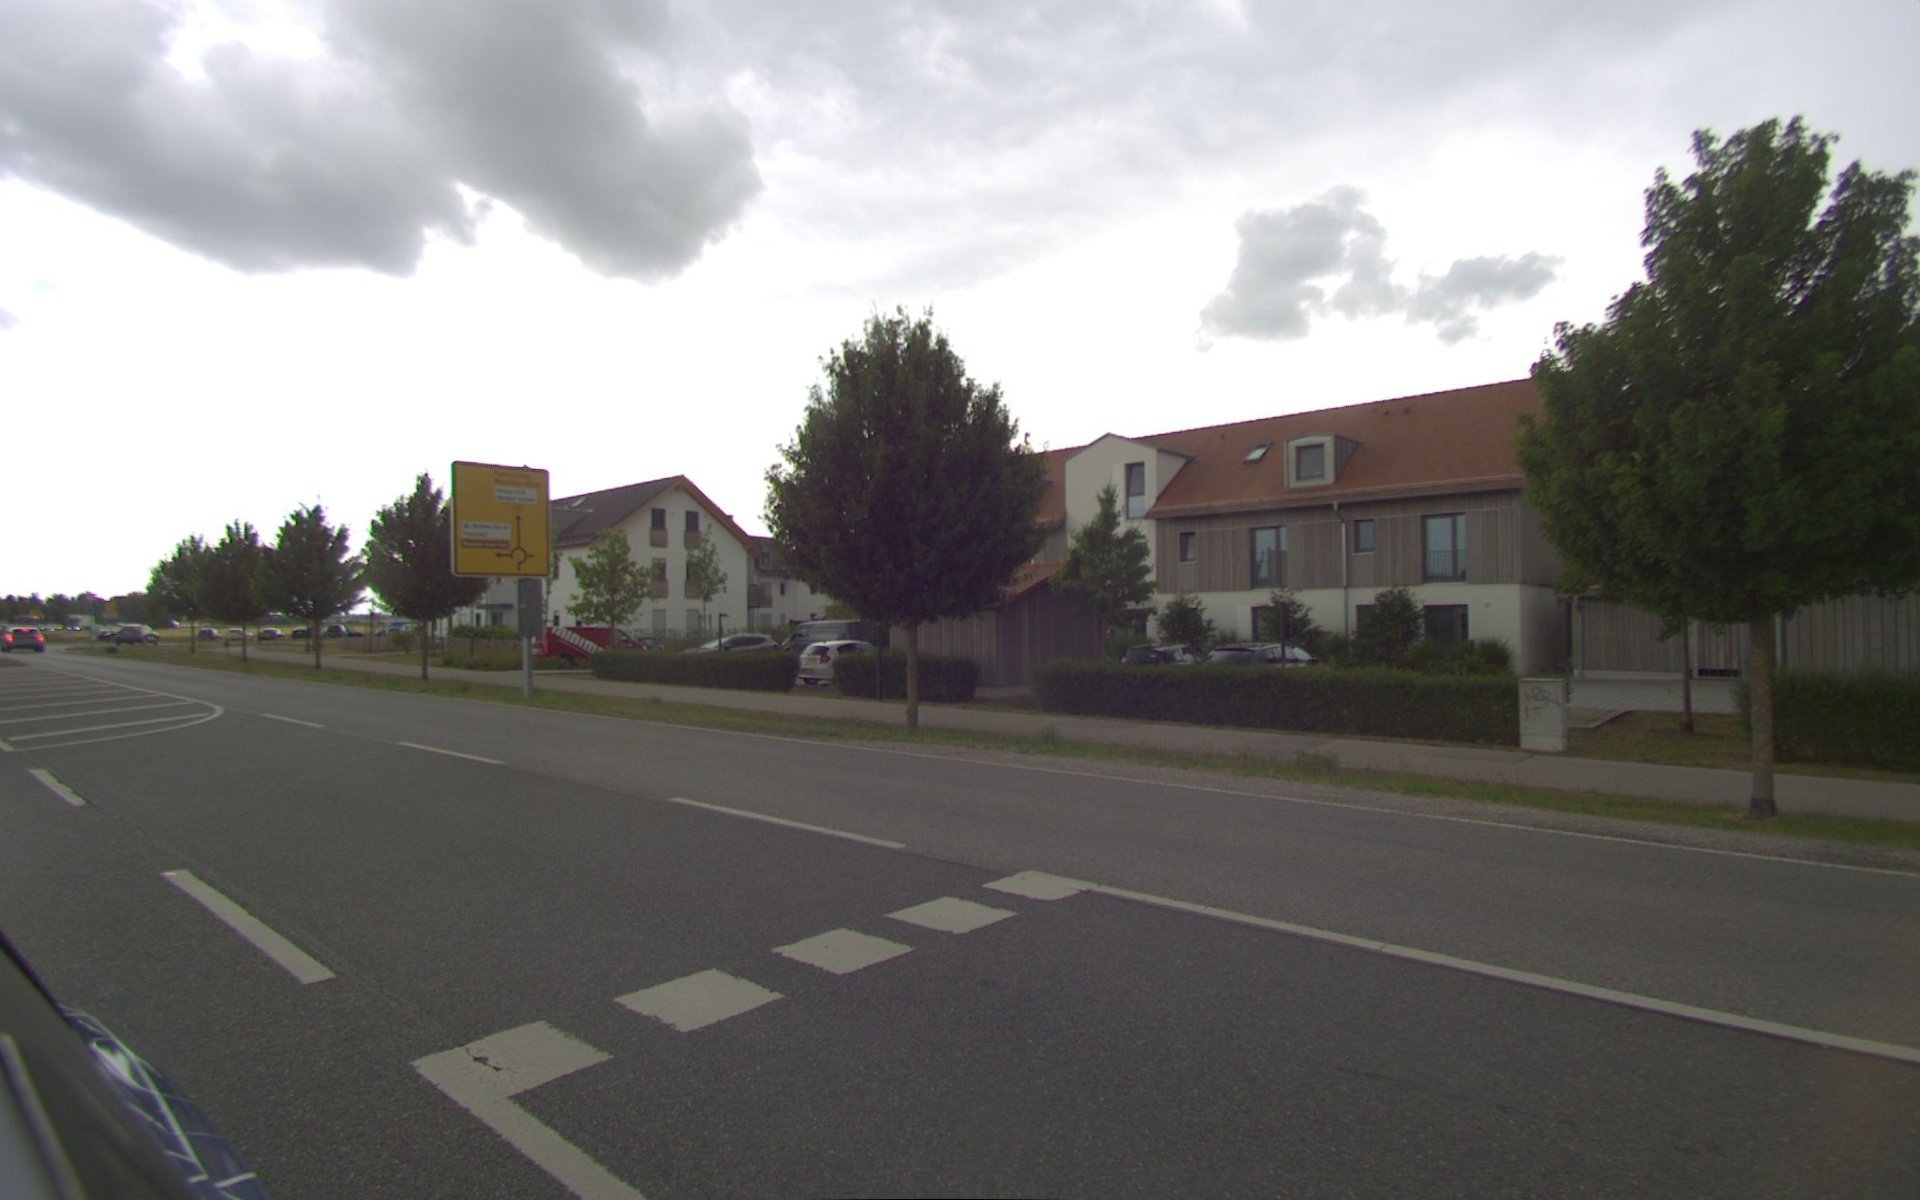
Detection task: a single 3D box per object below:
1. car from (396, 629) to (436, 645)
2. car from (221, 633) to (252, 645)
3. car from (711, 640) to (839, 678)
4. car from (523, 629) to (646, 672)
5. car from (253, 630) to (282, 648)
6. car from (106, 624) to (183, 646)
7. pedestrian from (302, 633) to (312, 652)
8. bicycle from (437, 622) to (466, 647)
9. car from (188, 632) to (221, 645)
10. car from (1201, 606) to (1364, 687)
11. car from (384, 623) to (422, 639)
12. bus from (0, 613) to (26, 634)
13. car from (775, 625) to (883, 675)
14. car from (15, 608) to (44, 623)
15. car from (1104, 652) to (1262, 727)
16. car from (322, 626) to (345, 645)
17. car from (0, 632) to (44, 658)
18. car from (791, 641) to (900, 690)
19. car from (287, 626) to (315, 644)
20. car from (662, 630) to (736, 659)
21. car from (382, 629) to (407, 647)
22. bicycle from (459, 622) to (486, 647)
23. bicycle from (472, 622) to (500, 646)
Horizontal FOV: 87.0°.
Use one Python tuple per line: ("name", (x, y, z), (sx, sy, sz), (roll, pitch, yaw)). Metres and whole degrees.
("car", (-69.185, 4.750, 128.731), (1.994, 2.029, 3.955), (-1, -3, 33))
("car", (-79.498, 4.280, 111.284), (1.965, 1.298, 4.013), (2, -3, -24))
("car", (-7.267, 2.320, 40.210), (1.906, 1.441, 4.852), (-2, -4, 42))
("car", (-16.945, 2.288, 45.834), (4.847, 1.830, 1.908), (3, -4, -43))
("car", (-77.045, 4.359, 112.655), (1.965, 2.029, 4.013), (2, -3, -24))
("car", (-62.601, 2.713, 77.747), (1.821, 1.594, 4.179), (-1, -4, 25))
("pedestrian", (-53.962, 3.471, 83.568), (0.586, 1.541, 0.540), (-2, -1, 41))
("bicycle", (-29.990, 2.054, 59.650), (2.343, 1.423, 0.675), (-2, -4, 42))
("car", (-82.322, 4.215, 110.288), (1.965, 1.298, 4.013), (2, -3, -24))
("car", (7.257, 1.048, 22.598), (2.000, 1.630, 3.943), (-2, -4, 43))
("car", (-74.127, 4.175, 134.646), (1.991, 2.029, 3.960), (-1, -3, 29))
("bus", (-153.648, 3.835, 163.537), (6.476, 3.305, 2.955), (-2, -3, 38))
("car", (-5.987, 2.236, 45.675), (5.202, 2.029, 1.971), (-2, 1, 45))
("car", (-95.088, 1.632, 103.384), (3.998, 1.455, 1.751), (-2, -4, 42))
("car", (5.427, 2.068, 24.353), (2.000, 1.630, 3.943), (-2, -4, 43))
("car", (-70.942, 4.051, 114.583), (1.966, 2.029, 4.011), (2, -3, -33))
("car", (-54.817, 2.618, 58.907), (3.998, 1.455, 1.751), (-2, -4, 42))
("car", (-3.753, 2.141, 33.541), (1.562, 1.501, 3.477), (-2, -4, 41))
("car", (-73.893, 3.963, 113.527), (1.965, 2.029, 4.013), (2, -3, -24))
("car", (-14.174, 2.428, 54.828), (3.998, 1.519, 1.972), (-2, -4, 42))
("car", (-66.697, 4.468, 119.400), (1.965, 2.029, 4.013), (1, -3, -21))
("bicycle", (-29.043, 2.058, 60.324), (2.093, 1.428, 0.675), (-2, -4, 42))
("bicycle", (-28.528, 2.053, 60.896), (2.093, 1.439, 0.675), (-2, -4, 42))
